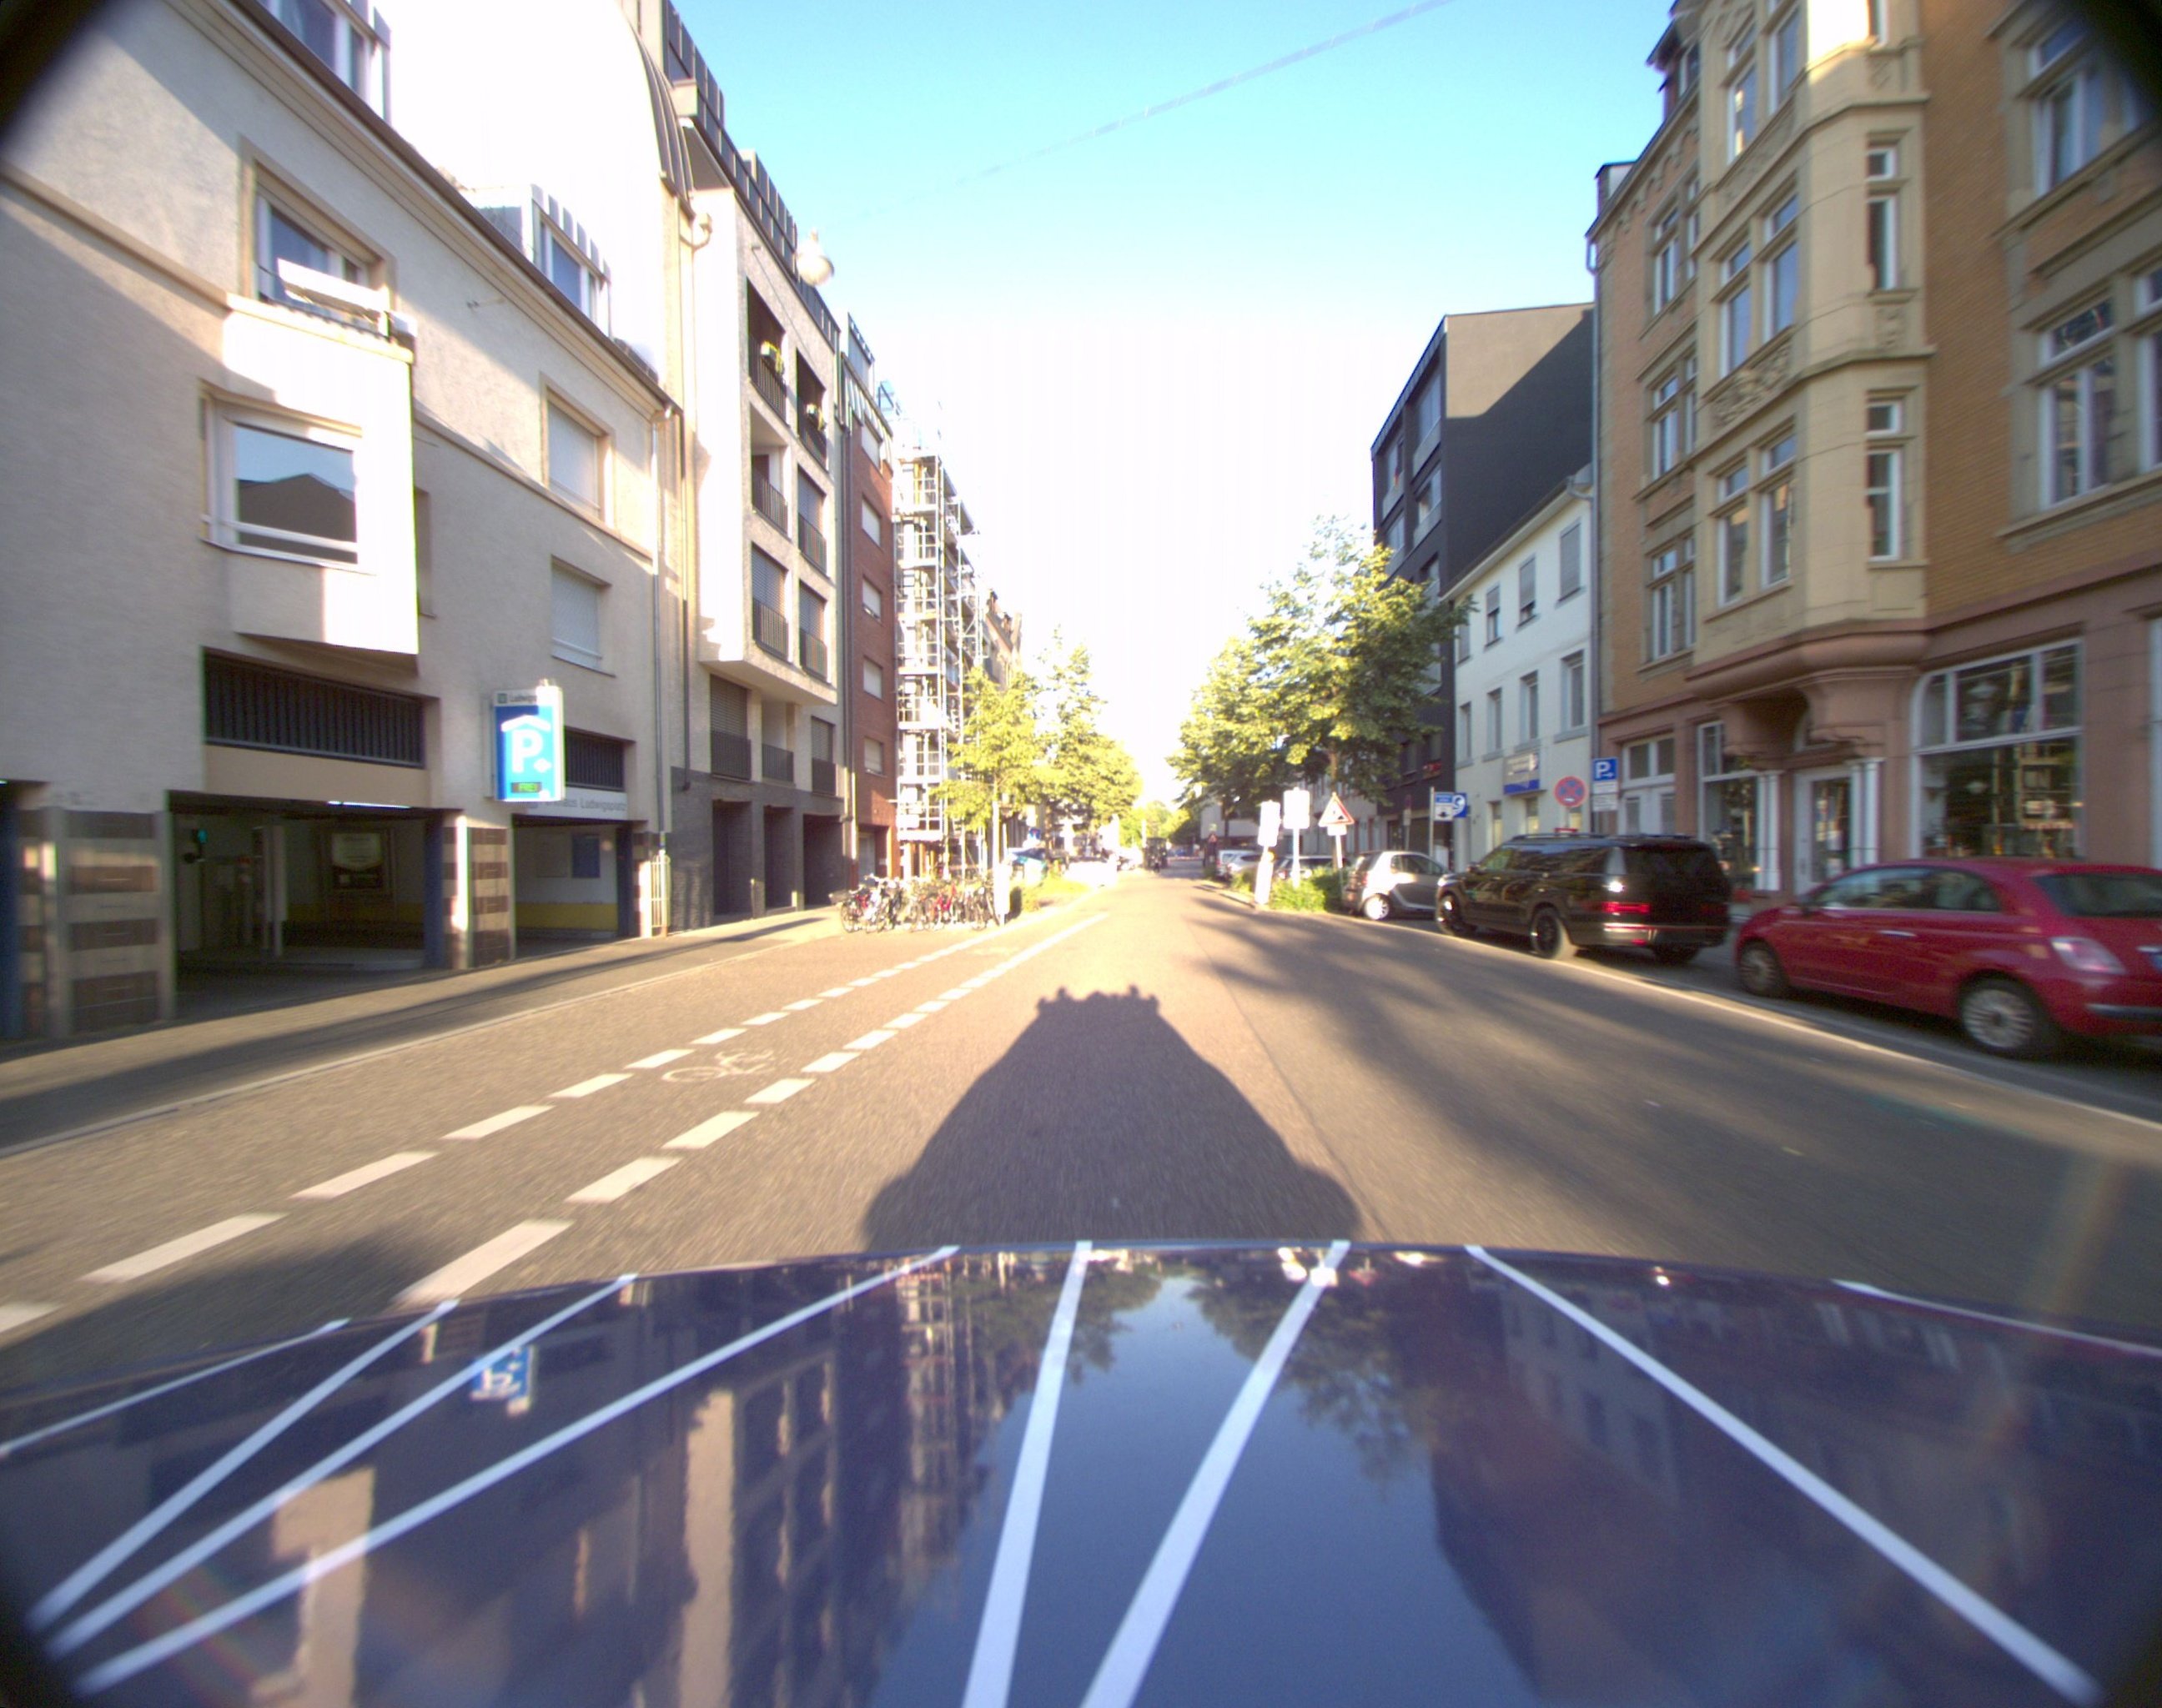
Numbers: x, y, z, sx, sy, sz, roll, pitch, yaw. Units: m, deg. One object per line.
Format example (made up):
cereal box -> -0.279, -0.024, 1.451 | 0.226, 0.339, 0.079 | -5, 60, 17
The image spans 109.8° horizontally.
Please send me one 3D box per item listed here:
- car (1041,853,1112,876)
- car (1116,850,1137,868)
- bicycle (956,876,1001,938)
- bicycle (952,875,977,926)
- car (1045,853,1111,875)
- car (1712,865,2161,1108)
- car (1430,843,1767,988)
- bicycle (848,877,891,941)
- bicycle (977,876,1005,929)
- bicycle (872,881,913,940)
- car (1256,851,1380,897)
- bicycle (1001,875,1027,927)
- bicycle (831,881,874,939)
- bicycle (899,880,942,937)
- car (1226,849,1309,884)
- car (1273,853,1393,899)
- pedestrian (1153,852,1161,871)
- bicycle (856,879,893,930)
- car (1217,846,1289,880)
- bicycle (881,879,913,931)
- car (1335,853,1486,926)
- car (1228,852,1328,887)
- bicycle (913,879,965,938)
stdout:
car -> -0.267, 0.697, 51.379 | 4.535, 1.471, 1.869 | 0, 1, 8
car -> 4.364, 0.499, 72.660 | 1.708, 1.575, 3.680 | -1, 1, 7
bicycle -> -2.100, 1.068, 15.714 | 0.363, 1.134, 1.567 | 0, 1, 13
bicycle -> -2.725, 1.056, 17.650 | 0.383, 1.094, 1.521 | -1, 1, -15
car -> -0.172, 0.700, 54.054 | 4.536, 1.502, 1.912 | 0, -1, 5
car -> 7.725, 0.897, 6.613 | 1.777, 1.506, 3.486 | 1, 1, 6
car -> 7.282, 0.704, 11.462 | 1.909, 1.718, 4.702 | 1, 1, 1
bicycle -> -4.385, 1.116, 15.855 | 0.382, 1.182, 1.523 | -2, 1, 2
bicycle -> -2.052, 1.086, 17.454 | 0.382, 1.094, 1.523 | 0, 1, 3
bicycle -> -3.894, 1.148, 15.798 | 0.382, 1.094, 1.523 | -1, 1, 2
car -> 8.334, 0.690, 26.999 | 3.901, 1.508, 1.858 | -1, 0, 6
bicycle -> -1.547, 1.066, 17.643 | 0.382, 1.094, 1.523 | 0, 1, 3
bicycle -> -4.869, 1.170, 16.261 | 0.382, 1.094, 1.523 | -1, 1, 2
bicycle -> -3.382, 1.121, 16.113 | 0.382, 1.094, 1.566 | 0, 1, 7
car -> 9.169, 0.599, 37.611 | 3.832, 1.576, 1.742 | -2, 1, 8
car -> 8.051, 0.693, 24.518 | 3.403, 1.384, 1.687 | -1, 0, 8
pedestrian -> 6.669, 0.660, 66.587 | 0.672, 1.585, 0.469 | 0, 1, 7
bicycle -> -4.822, 1.158, 17.812 | 0.382, 1.094, 1.523 | -1, 1, 2
car -> 9.621, 0.501, 42.704 | 3.817, 1.839, 1.701 | 0, 1, 9
bicycle -> -4.210, 1.150, 17.475 | 0.383, 1.094, 1.523 | -1, 1, -1
car -> 7.306, 0.773, 17.035 | 2.700, 1.511, 1.572 | 1, 0, 2
car -> 9.076, 0.710, 35.231 | 4.217, 1.507, 1.762 | -1, 1, 2
bicycle -> -2.921, 1.109, 15.753 | 0.371, 1.101, 1.525 | 0, 1, 17
